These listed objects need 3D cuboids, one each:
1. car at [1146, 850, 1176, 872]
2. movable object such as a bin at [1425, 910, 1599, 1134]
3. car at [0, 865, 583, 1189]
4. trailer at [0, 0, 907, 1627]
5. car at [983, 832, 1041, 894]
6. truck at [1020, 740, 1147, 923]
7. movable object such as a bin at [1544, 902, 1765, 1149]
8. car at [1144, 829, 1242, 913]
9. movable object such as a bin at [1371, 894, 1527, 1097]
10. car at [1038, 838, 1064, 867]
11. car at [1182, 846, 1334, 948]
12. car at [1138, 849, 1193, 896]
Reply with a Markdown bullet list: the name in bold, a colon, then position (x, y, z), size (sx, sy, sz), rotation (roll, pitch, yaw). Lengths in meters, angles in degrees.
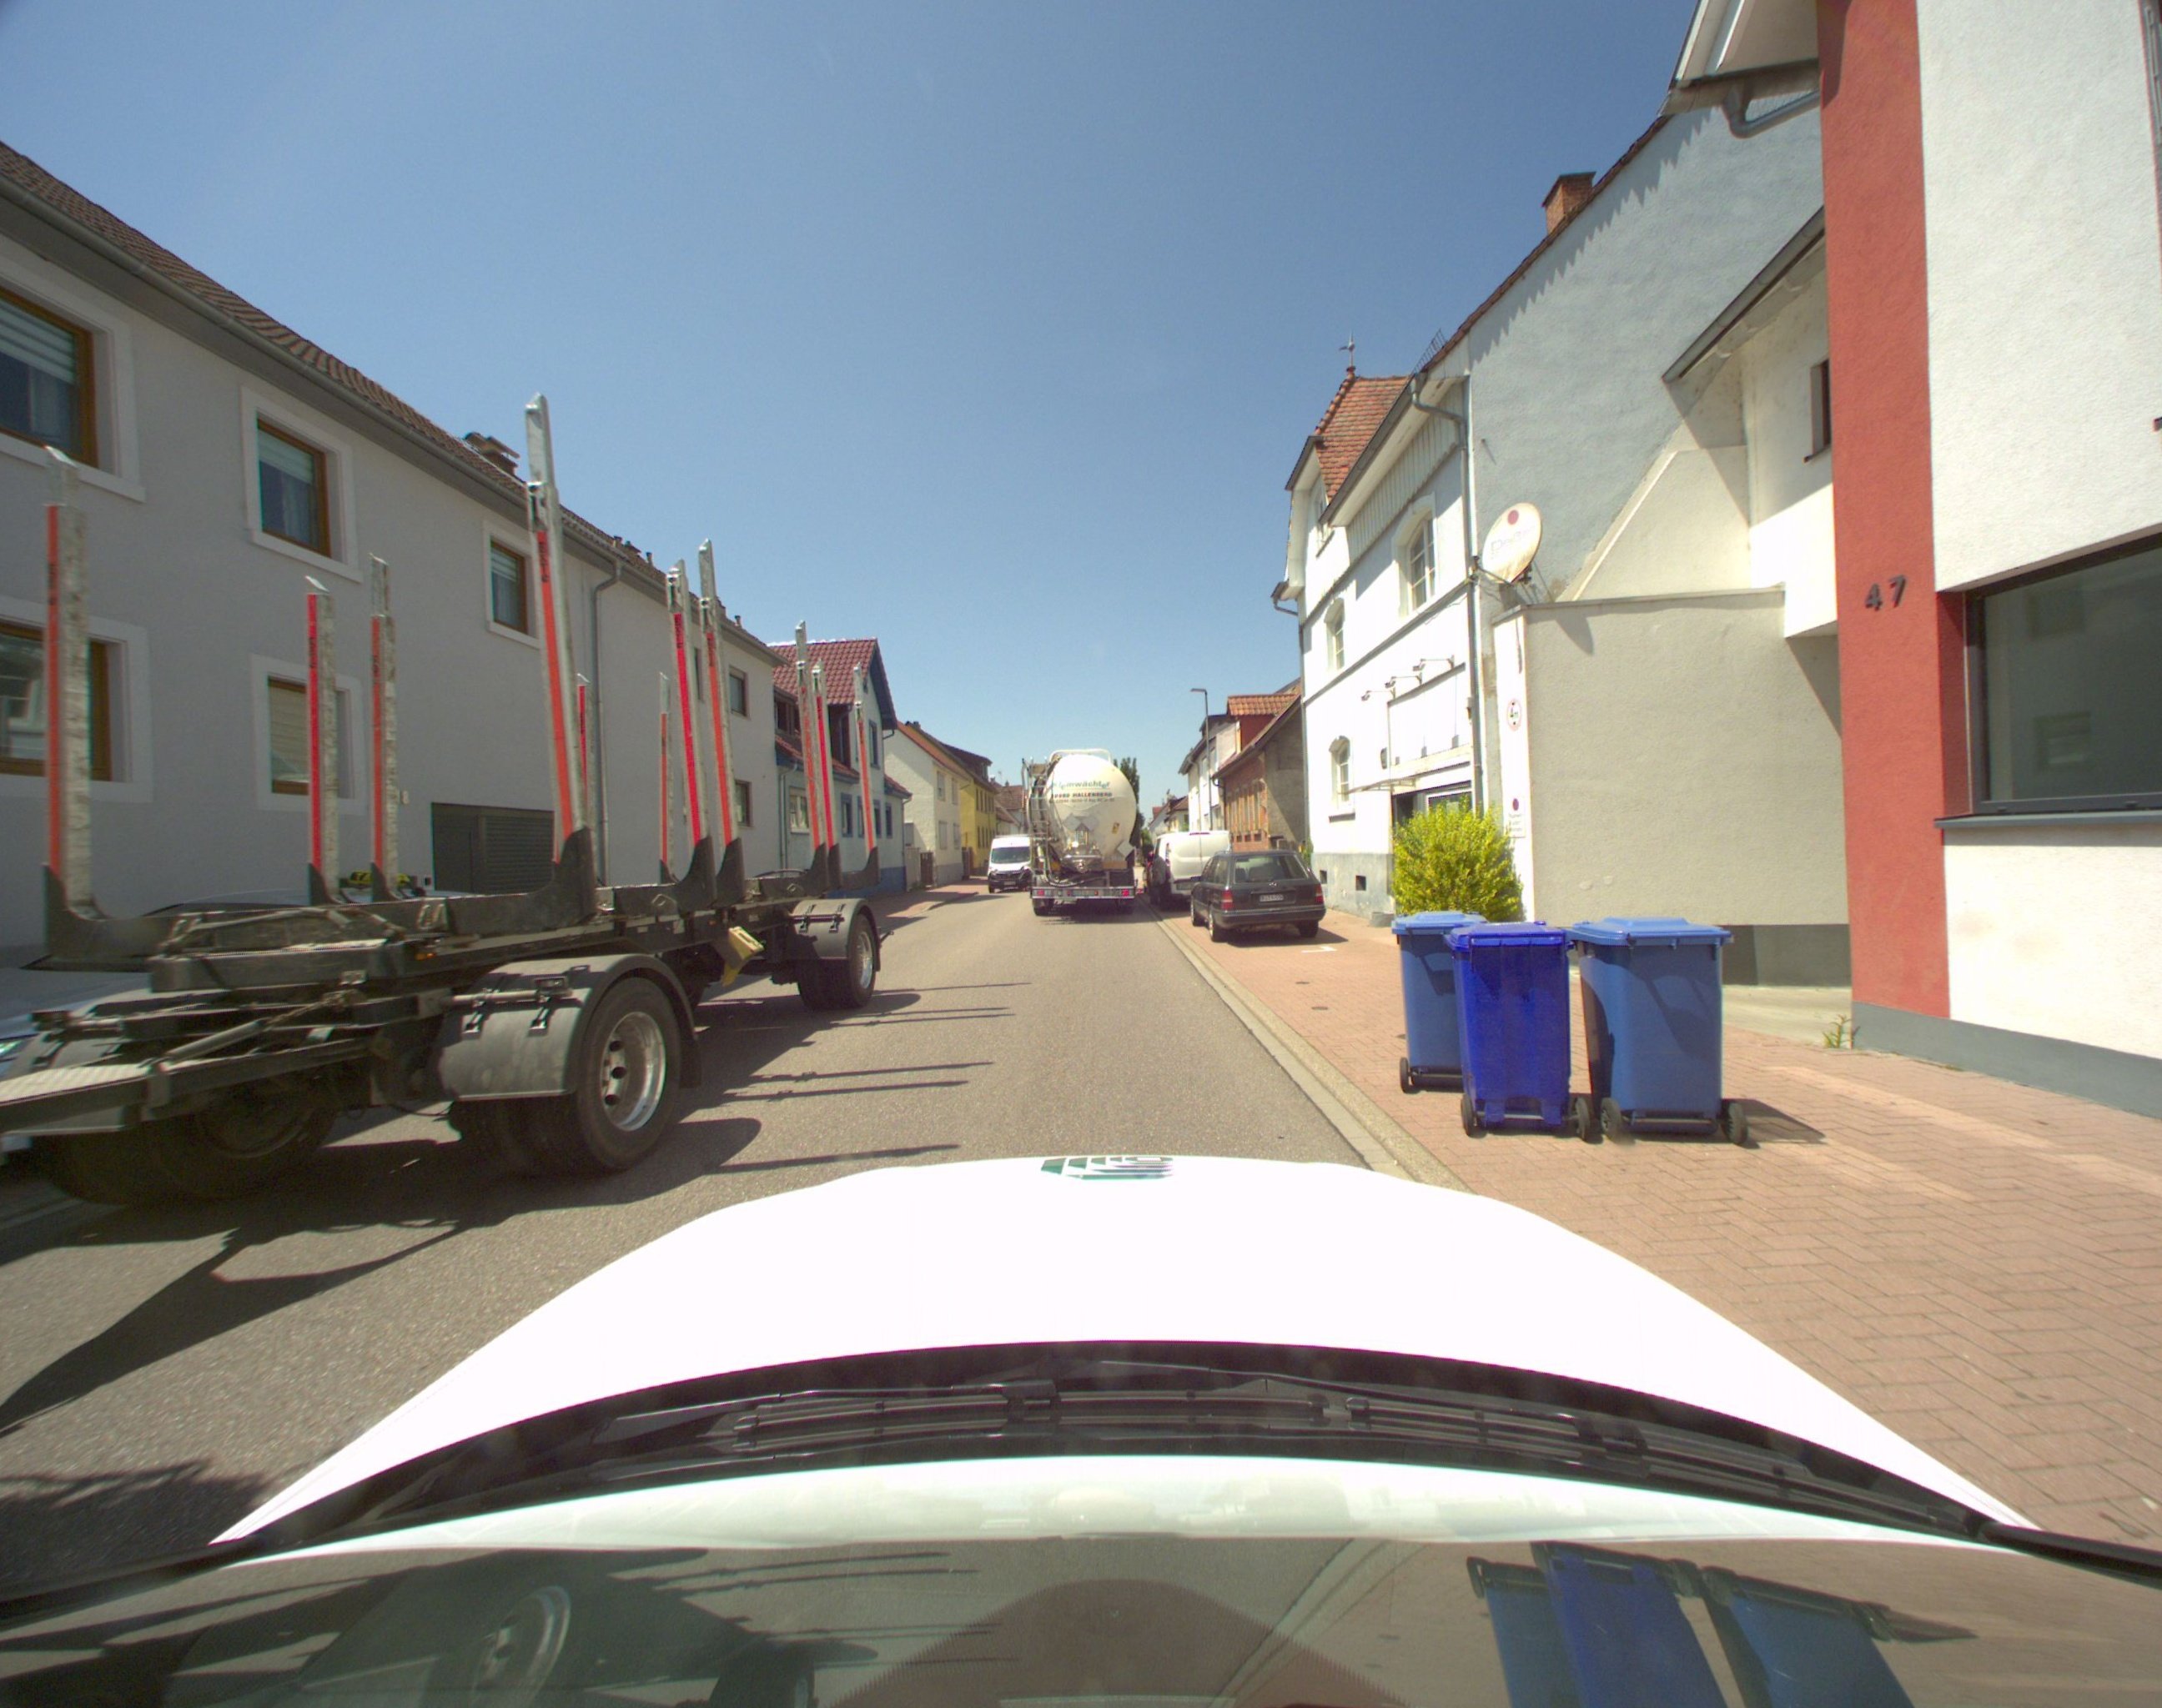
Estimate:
- **car**: position (5.962, 0.477, 60.214), size (1.804, 1.462, 4.898), rotation (3, 1, 10)
- **movable object such as a bin**: position (2.272, 0.859, 4.379), size (0.650, 1.035, 0.687), rotation (-4, 0, 17)
- **car**: position (-6.266, 0.898, 6.389), size (1.801, 1.557, 4.566), rotation (0, 0, 1)
- **trailer**: position (-3.542, -0.390, 1.922), size (2.622, 3.979, 15.696), rotation (-3, 0, 0)
- **car**: position (-3.079, 0.381, 37.748), size (2.118, 2.542, 5.460), rotation (-3, 0, 0)
- **truck**: position (0.086, -0.467, 21.729), size (2.723, 3.960, 8.141), rotation (-1, 0, 0)
- **movable object such as a bin**: position (2.891, 0.825, 4.201), size (0.649, 1.060, 0.839), rotation (-4, 0, 17)
- **car**: position (2.925, 0.399, 22.319), size (1.940, 1.970, 4.783), rotation (-3, 0, -1)
- **movable object such as a bin**: position (2.260, 0.836, 5.127), size (0.716, 1.073, 0.976), rotation (-4, 0, 17)
- **car**: position (-2.652, -0.148, 73.735), size (2.044, 2.353, 6.080), rotation (-3, 0, 0)
- **car**: position (2.952, 0.637, 14.542), size (1.763, 1.466, 4.579), rotation (-3, 0, 1)
- **car**: position (2.988, 0.625, 29.308), size (1.604, 1.528, 3.677), rotation (-3, 0, 1)
